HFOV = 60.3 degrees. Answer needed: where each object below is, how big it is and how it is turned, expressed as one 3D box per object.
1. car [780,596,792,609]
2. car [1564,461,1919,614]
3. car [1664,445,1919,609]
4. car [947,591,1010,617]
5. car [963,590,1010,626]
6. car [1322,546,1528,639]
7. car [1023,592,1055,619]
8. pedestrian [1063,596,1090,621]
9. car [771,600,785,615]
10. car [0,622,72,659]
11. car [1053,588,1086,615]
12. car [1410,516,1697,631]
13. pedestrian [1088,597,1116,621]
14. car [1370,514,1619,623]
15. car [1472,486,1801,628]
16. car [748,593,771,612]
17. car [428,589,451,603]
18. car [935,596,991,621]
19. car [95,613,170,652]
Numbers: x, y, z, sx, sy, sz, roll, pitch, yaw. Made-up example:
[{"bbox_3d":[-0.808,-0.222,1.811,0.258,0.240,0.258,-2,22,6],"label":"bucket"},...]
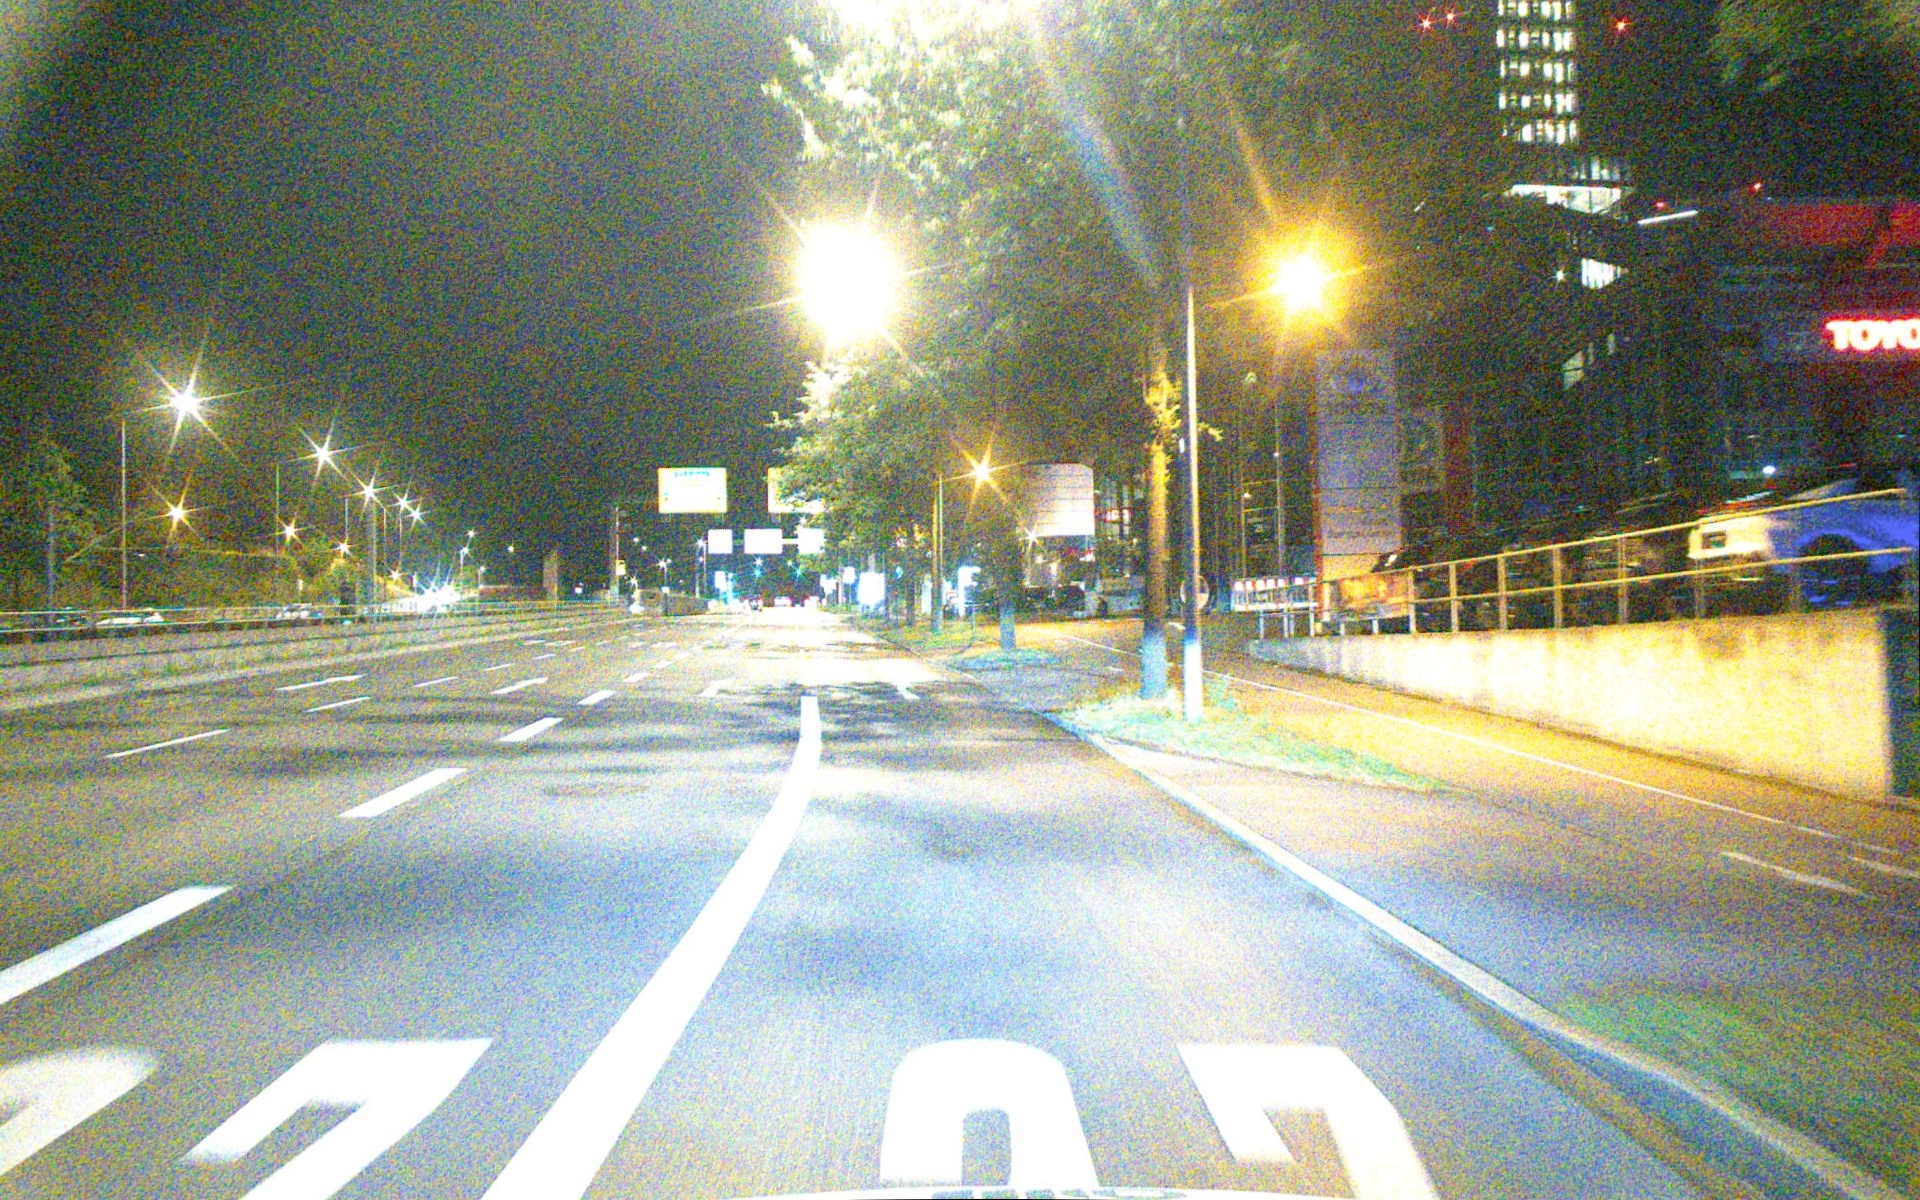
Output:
[{"bbox_3d":[-25.074,0.337,238.081,1.746,1.758,3.994,1,-2,-6],"label":"car"},{"bbox_3d":[9.627,-0.733,20.067,3.909,1.599,1.737,-3,-1,-4],"label":"car"},{"bbox_3d":[9.991,-0.783,17.766,4.038,1.549,1.821,-2,-2,-4],"label":"car"},{"bbox_3d":[1.116,0.250,99.970,3.558,1.477,1.703,1,-2,-10],"label":"car"},{"bbox_3d":[1.562,0.477,94.904,1.951,1.979,4.003,0,-2,12],"label":"car"},{"bbox_3d":[8.794,-0.161,31.197,3.802,1.516,1.717,-2,-3,-37],"label":"car"},{"bbox_3d":[4.863,0.334,102.120,1.853,1.538,3.636,1,-2,1],"label":"car"},{"bbox_3d":[5.137,0.371,72.824,0.896,1.057,0.768,-2,-1,38],"label":"pedestrian"},{"bbox_3d":[-25.431,1.056,230.964,1.955,2.049,3.994,1,-2,-6],"label":"car"},{"bbox_3d":[-33.661,1.474,59.761,1.497,1.292,3.387,1,-2,-4],"label":"car"},{"bbox_3d":[6.817,0.093,103.406,1.853,1.538,3.636,1,-2,1],"label":"car"},{"bbox_3d":[8.925,-0.385,25.028,3.654,1.515,1.739,-2,-2,-8],"label":"car"},{"bbox_3d":[6.264,0.383,73.013,0.983,1.025,0.767,2,-2,-21],"label":"pedestrian"},{"bbox_3d":[8.849,-0.501,27.500,3.497,1.597,1.722,-3,-1,-10],"label":"car"},{"bbox_3d":[9.152,-0.557,22.547,3.676,1.615,1.777,-3,-2,-7],"label":"car"},{"bbox_3d":[-19.660,0.219,162.480,1.929,1.741,3.997,1,-2,-3],"label":"car"},{"bbox_3d":[-57.825,-0.424,183.801,1.593,1.507,3.675,1,-2,-5],"label":"car"},{"bbox_3d":[0.173,0.593,107.906,3.446,1.535,1.732,1,-2,-10],"label":"car"},{"bbox_3d":[-37.750,1.499,75.568,1.796,1.714,3.993,1,-2,-7],"label":"car"}]
